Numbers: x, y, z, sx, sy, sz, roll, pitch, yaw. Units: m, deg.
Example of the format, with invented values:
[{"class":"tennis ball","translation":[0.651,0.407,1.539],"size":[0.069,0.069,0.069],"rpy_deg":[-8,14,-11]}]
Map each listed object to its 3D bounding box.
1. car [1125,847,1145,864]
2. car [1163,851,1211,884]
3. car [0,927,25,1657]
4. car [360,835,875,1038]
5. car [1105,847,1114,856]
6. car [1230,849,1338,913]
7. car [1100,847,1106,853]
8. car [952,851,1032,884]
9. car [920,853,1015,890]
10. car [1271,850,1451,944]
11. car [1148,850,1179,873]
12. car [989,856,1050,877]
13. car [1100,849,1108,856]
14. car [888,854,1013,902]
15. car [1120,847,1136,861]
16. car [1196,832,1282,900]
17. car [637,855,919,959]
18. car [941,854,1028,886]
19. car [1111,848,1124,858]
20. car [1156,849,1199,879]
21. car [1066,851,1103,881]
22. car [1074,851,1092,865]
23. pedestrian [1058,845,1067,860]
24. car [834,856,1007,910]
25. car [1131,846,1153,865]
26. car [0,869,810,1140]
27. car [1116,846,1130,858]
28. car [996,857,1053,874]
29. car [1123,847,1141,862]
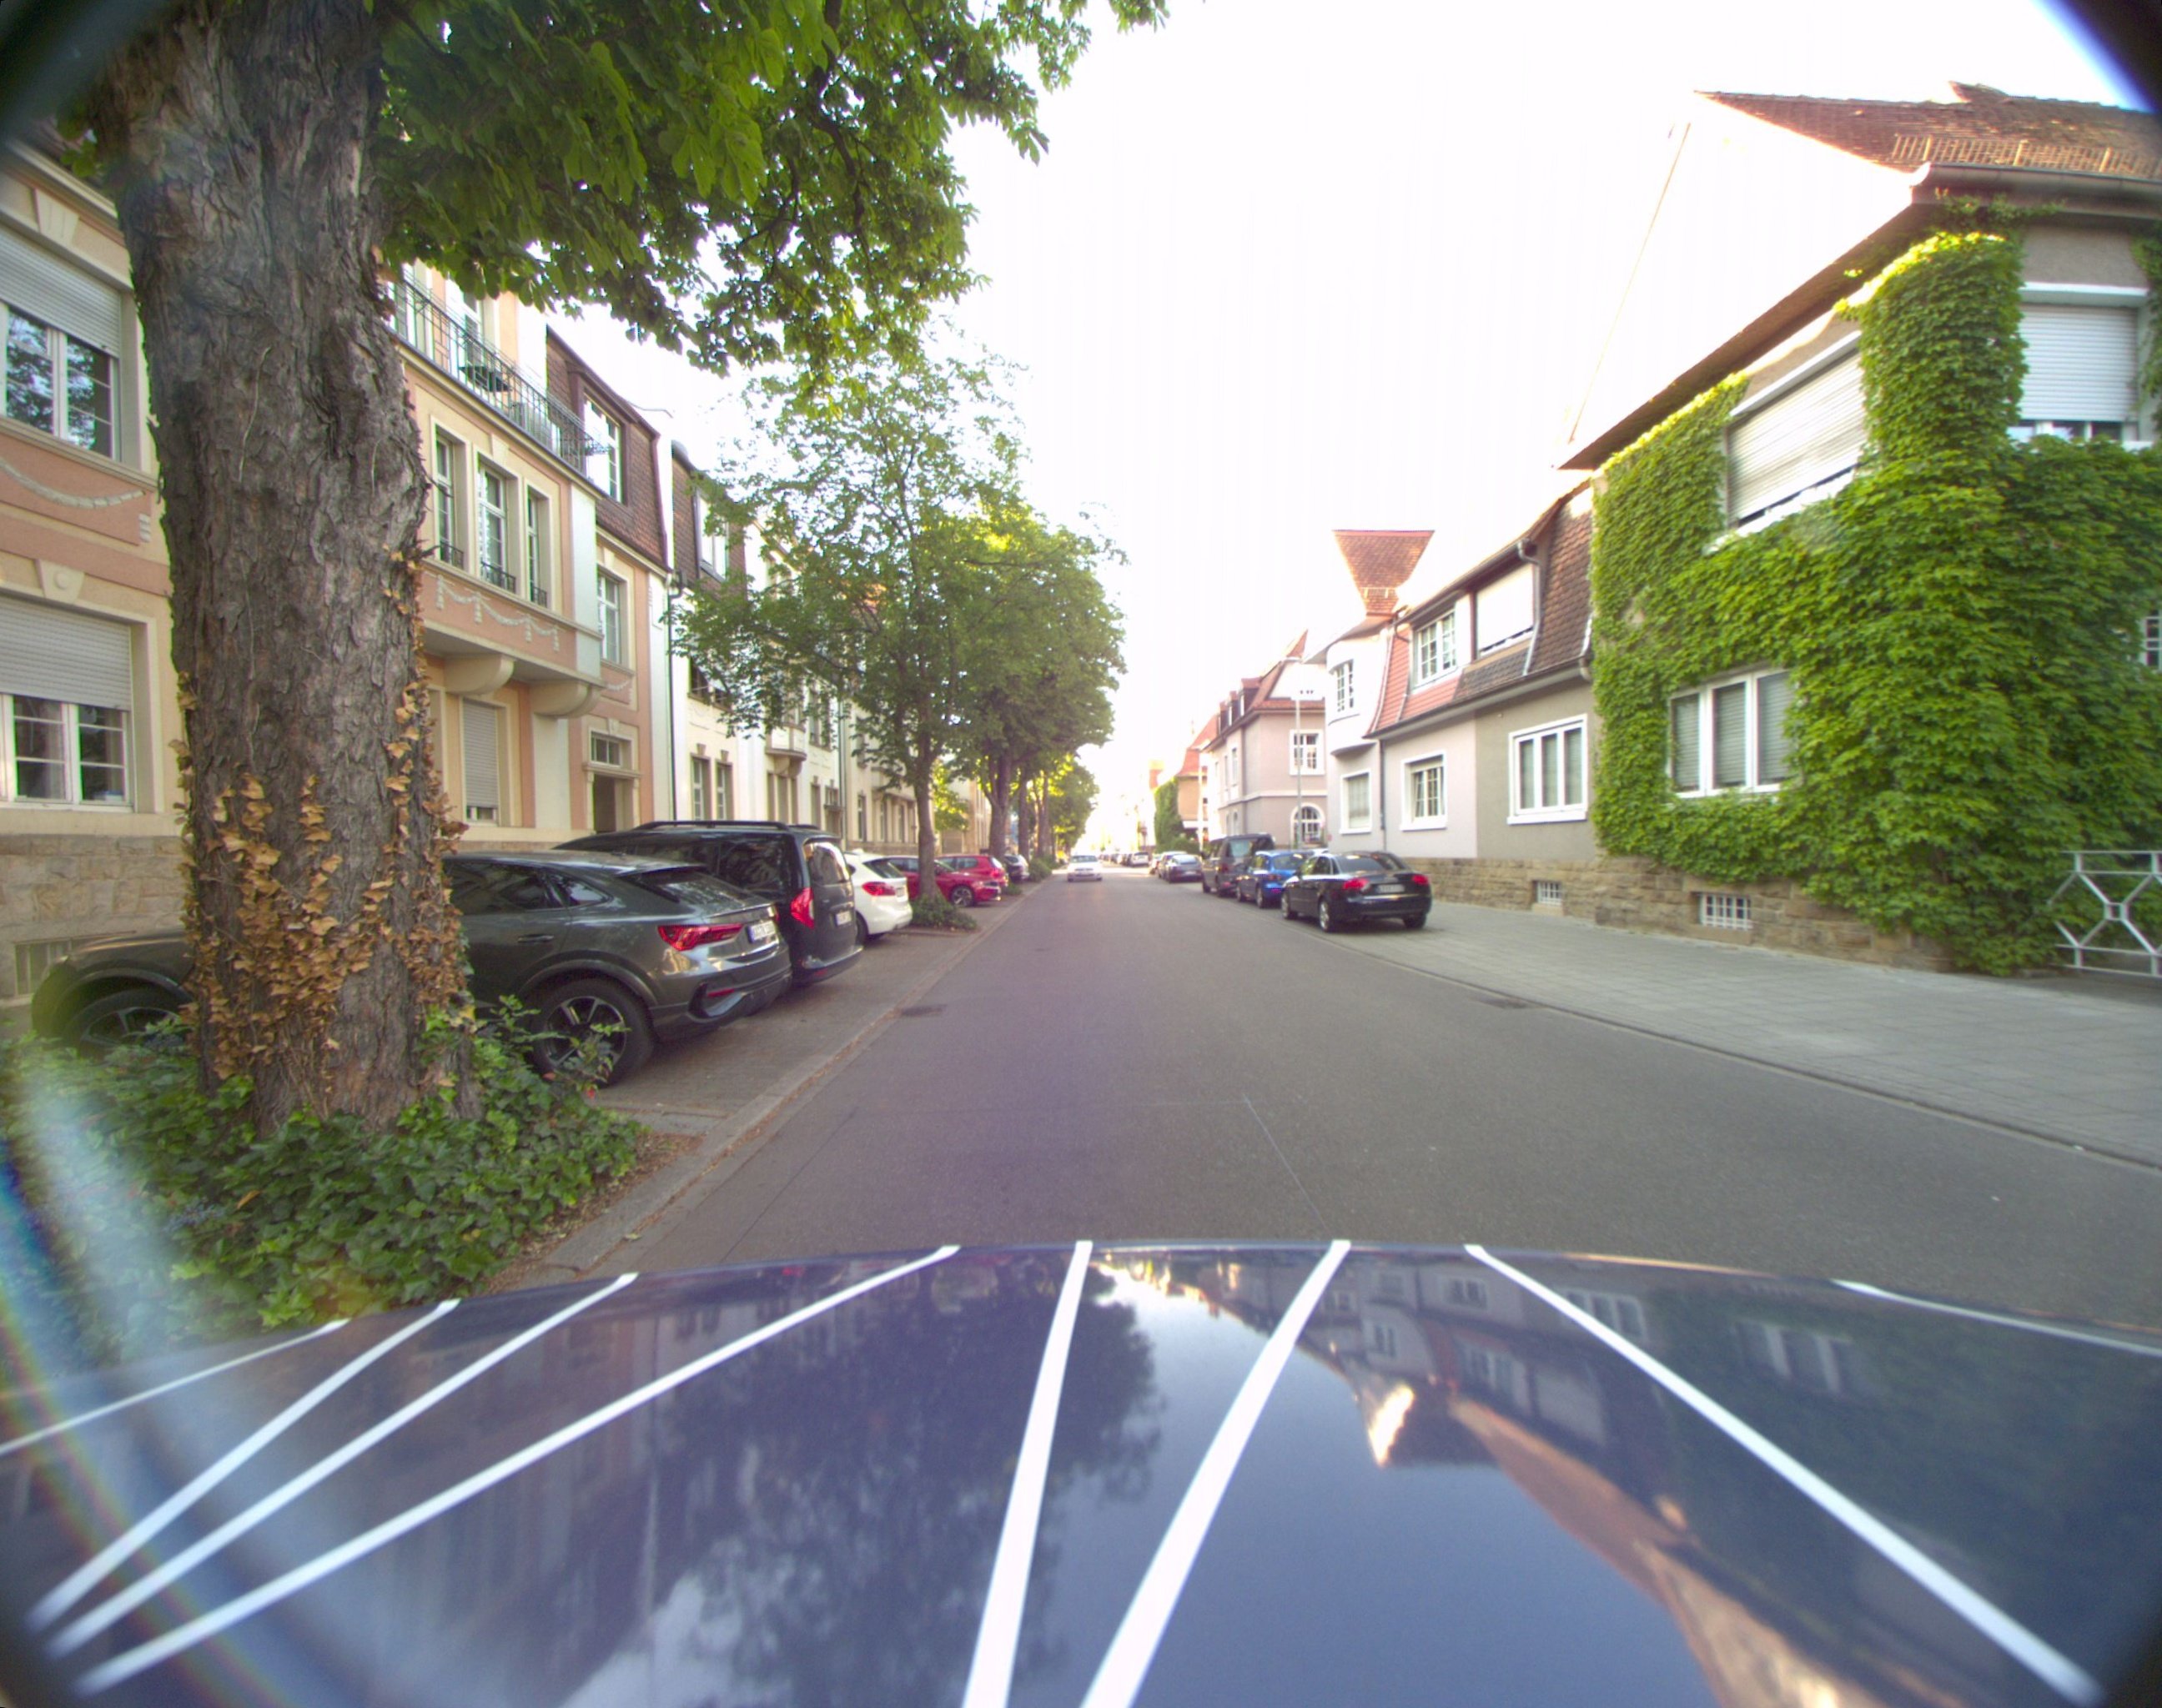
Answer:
[{"class":"car","translation":[5.339,0.110,75.258],"size":[1.699,1.520,3.677],"rpy_deg":[-3,1,2]},{"class":"car","translation":[5.065,0.589,36.654],"size":[1.932,1.376,4.063],"rpy_deg":[-3,1,4]},{"class":"car","translation":[-4.590,0.769,0.508],"size":[4.763,1.864,1.896],"rpy_deg":[0,1,-4]},{"class":"car","translation":[-4.433,0.737,7.819],"size":[4.121,1.827,1.844],"rpy_deg":[0,1,-2]},{"class":"car","translation":[5.579,-0.486,149.106],"size":[1.699,1.520,3.677],"rpy_deg":[-3,1,2]},{"class":"car","translation":[5.284,0.640,20.330],"size":[1.768,1.438,4.062],"rpy_deg":[-3,1,0]},{"class":"car","translation":[5.850,-1.031,202.655],"size":[1.699,1.520,3.677],"rpy_deg":[-3,1,2]},{"class":"car","translation":[-4.277,0.621,36.827],"size":[3.680,1.548,1.576],"rpy_deg":[0,1,2]},{"class":"car","translation":[-4.674,0.709,31.697],"size":[3.680,1.458,1.576],"rpy_deg":[0,1,2]},{"class":"car","translation":[5.135,0.693,14.633],"size":[1.806,1.438,4.428],"rpy_deg":[-3,1,0]},{"class":"car","translation":[5.443,0.465,50.370],"size":[1.662,1.354,3.677],"rpy_deg":[-3,1,2]},{"class":"car","translation":[-3.561,0.727,44.423],"size":[3.399,1.143,1.542],"rpy_deg":[0,1,2]},{"class":"car","translation":[5.292,-0.279,173.276],"size":[1.699,1.520,3.677],"rpy_deg":[-3,1,2]},{"class":"car","translation":[-4.135,0.749,24.453],"size":[3.680,1.473,1.659],"rpy_deg":[0,1,3]},{"class":"car","translation":[5.569,-0.056,90.996],"size":[1.699,1.520,3.677],"rpy_deg":[-3,1,2]},{"class":"car","translation":[5.149,0.348,25.341],"size":[1.842,1.964,4.612],"rpy_deg":[-3,1,0]},{"class":"car","translation":[-4.827,0.816,12.519],"size":[3.950,1.568,1.719],"rpy_deg":[0,1,0]},{"class":"car","translation":[-4.311,0.712,34.301],"size":[3.680,1.390,1.576],"rpy_deg":[0,1,2]},{"class":"car","translation":[5.555,-0.154,115.849],"size":[1.699,1.520,3.677],"rpy_deg":[-3,1,2]},{"class":"car","translation":[5.287,0.499,42.131],"size":[1.932,1.458,4.062],"rpy_deg":[-3,1,2]},{"class":"car","translation":[0.225,0.586,40.340],"size":[1.819,1.454,4.072],"rpy_deg":[-2,0,1]},{"class":"car","translation":[0.262,0.375,83.101],"size":[1.819,1.454,4.072],"rpy_deg":[-2,0,1]},{"class":"pedestrian","translation":[-2.403,-0.196,98.225],"size":[1.119,1.927,1.097],"rpy_deg":[-3,1,-1]},{"class":"car","translation":[-4.530,0.798,21.925],"size":[4.530,1.443,1.867],"rpy_deg":[0,1,3]},{"class":"car","translation":[5.425,0.143,67.993],"size":[1.699,1.558,3.677],"rpy_deg":[-3,1,2]},{"class":"car","translation":[-4.533,0.899,5.463],"size":[4.522,1.514,1.844],"rpy_deg":[0,1,-4]},{"class":"car","translation":[5.550,-0.255,100.722],"size":[1.699,1.520,3.677],"rpy_deg":[-3,1,2]},{"class":"car","translation":[-3.512,0.721,47.629],"size":[3.399,1.057,1.542],"rpy_deg":[0,1,2]},{"class":"car","translation":[5.441,0.051,80.750],"size":[1.699,1.520,3.677],"rpy_deg":[-3,1,2]}]
